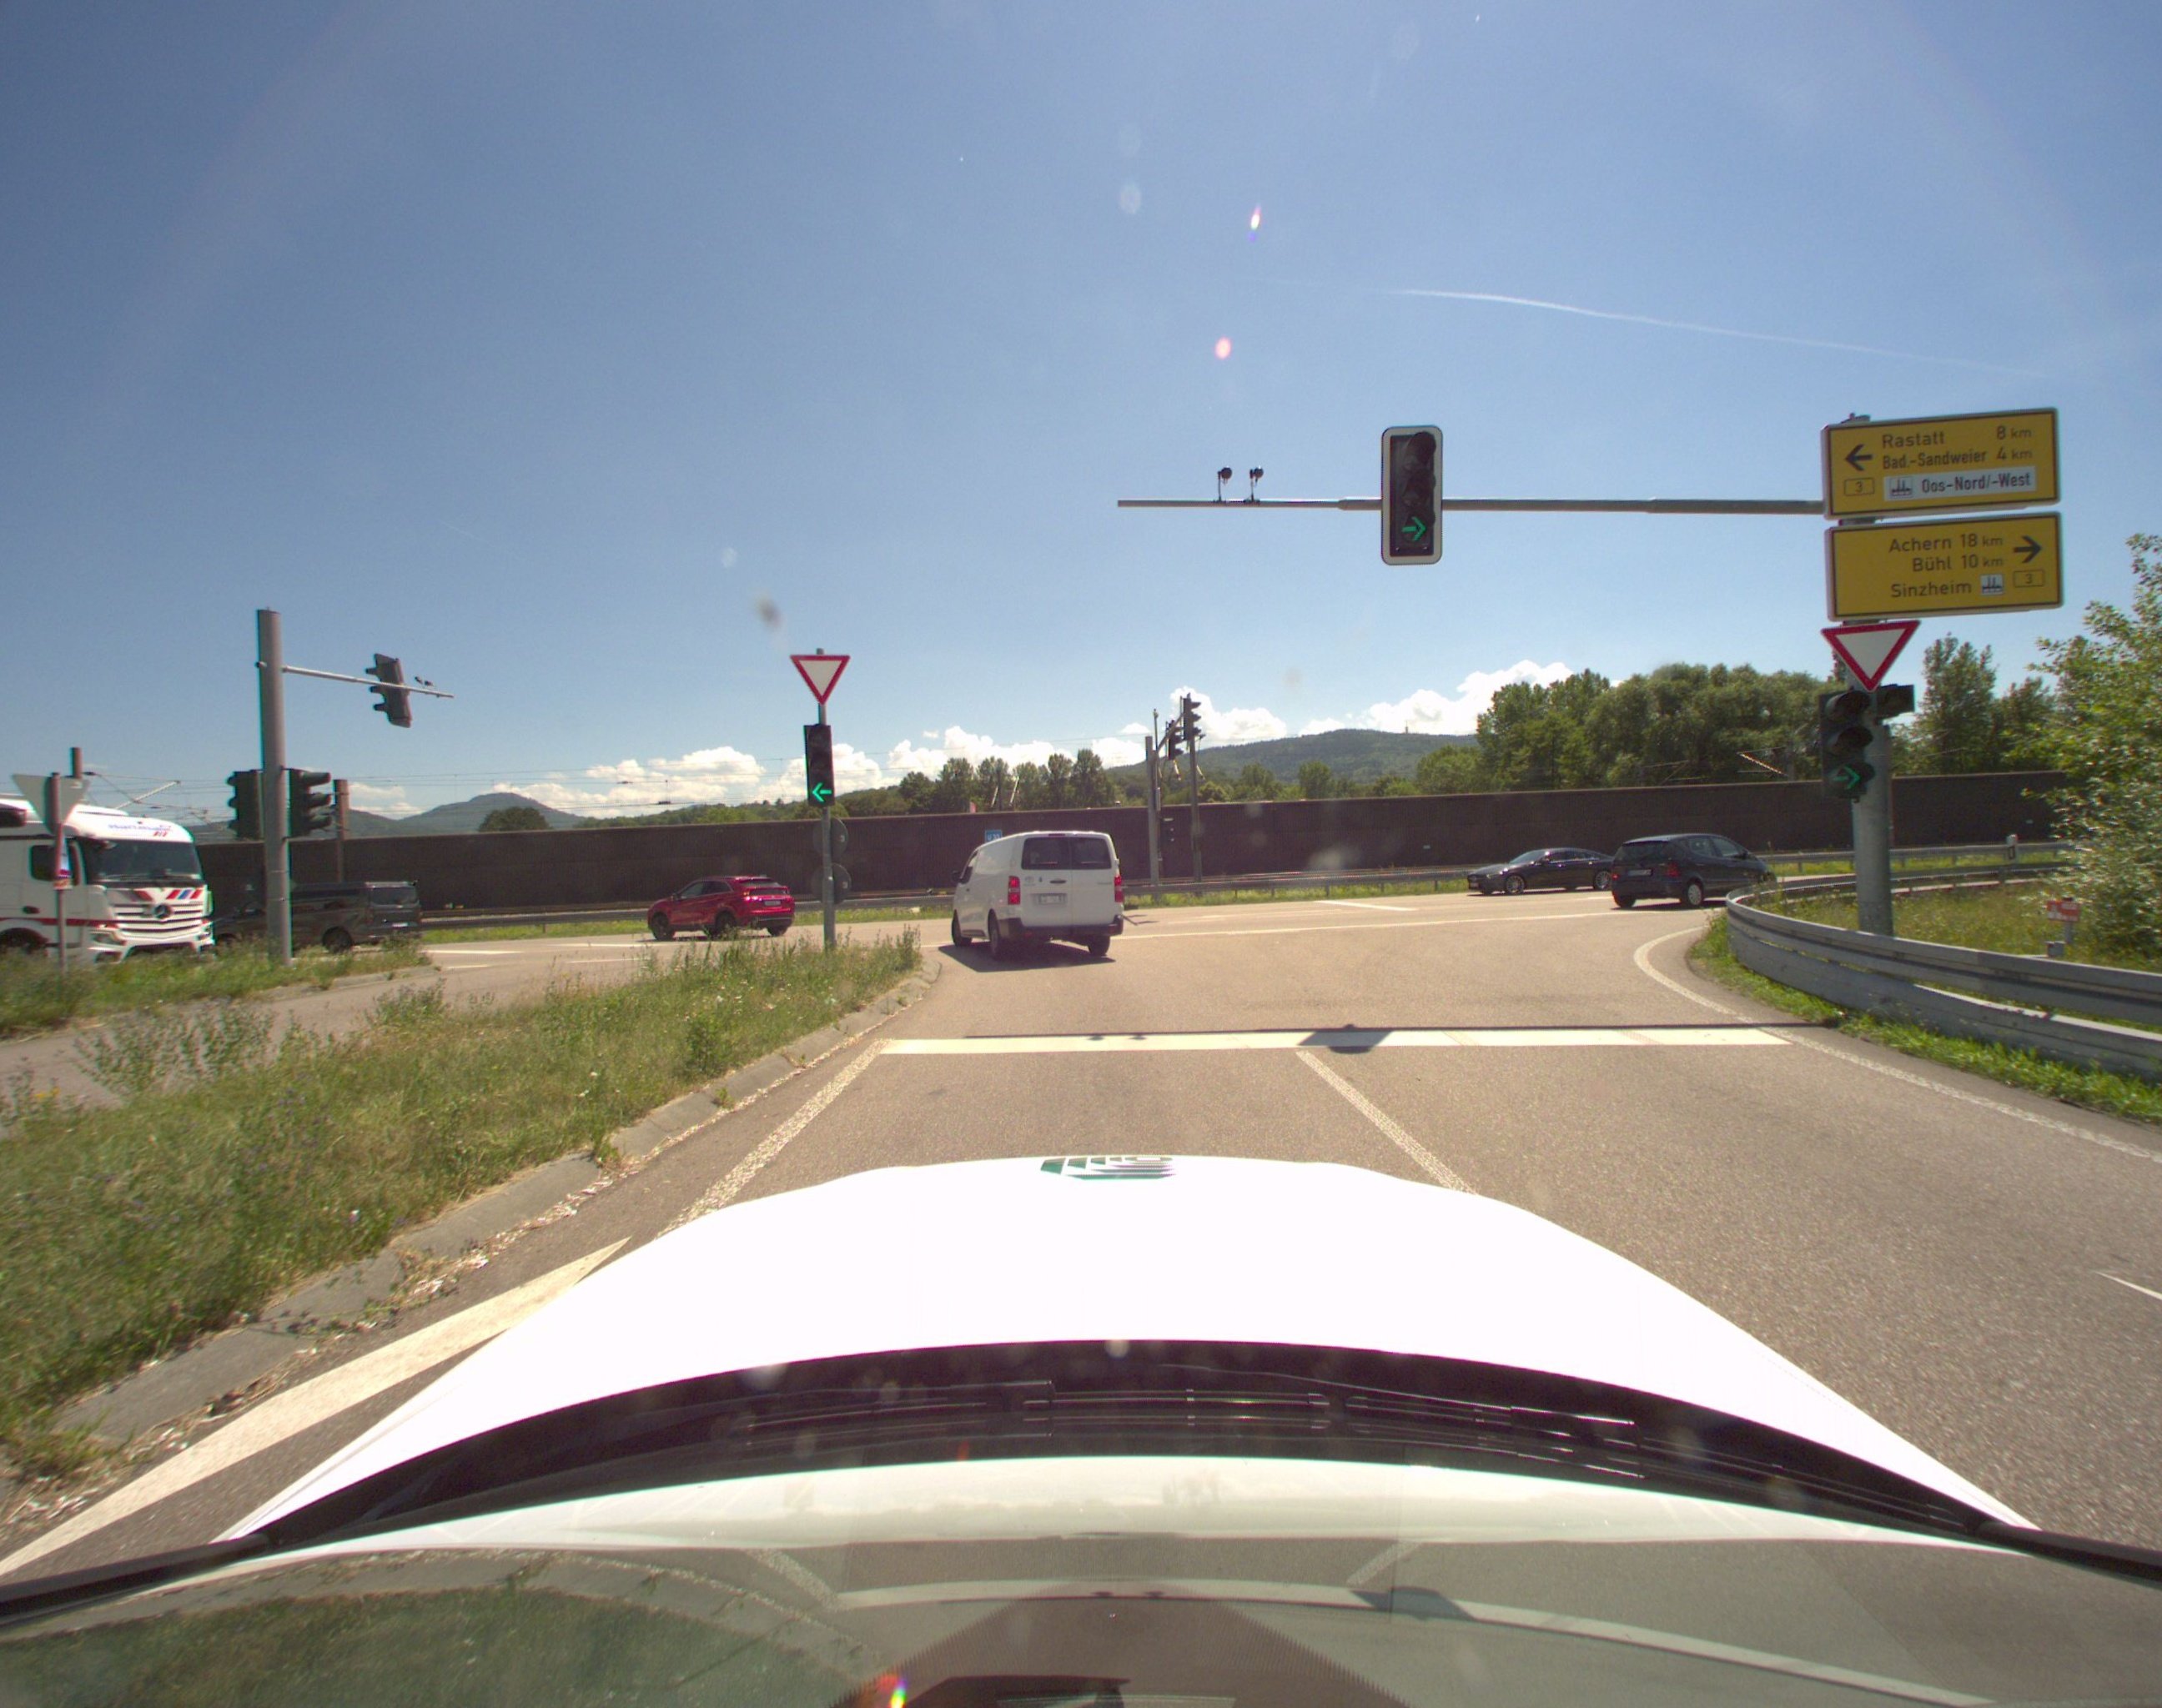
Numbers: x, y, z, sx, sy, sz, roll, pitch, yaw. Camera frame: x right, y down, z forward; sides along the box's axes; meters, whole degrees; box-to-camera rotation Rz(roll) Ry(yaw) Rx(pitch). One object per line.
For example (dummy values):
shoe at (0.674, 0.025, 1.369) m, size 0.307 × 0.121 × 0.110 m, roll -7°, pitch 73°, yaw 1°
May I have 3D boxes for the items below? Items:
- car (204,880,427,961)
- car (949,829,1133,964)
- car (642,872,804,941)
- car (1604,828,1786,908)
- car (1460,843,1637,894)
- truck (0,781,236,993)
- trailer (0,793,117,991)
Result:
car at (-22.162, 1.883, 23.692) m, size 4.744 × 2.022 × 2.017 m, roll -3°, pitch -2°, yaw 5°
car at (-0.919, 0.677, 14.090) m, size 1.951 × 1.882 × 4.850 m, roll -1°, pitch -2°, yaw -18°
car at (-9.715, 1.433, 22.066) m, size 4.088 × 1.649 × 1.924 m, roll -4°, pitch -2°, yaw 30°
car at (13.842, 0.293, 18.378) m, size 3.564 × 1.597 × 1.631 m, roll -2°, pitch -1°, yaw -22°
car at (15.000, 0.483, 26.318) m, size 4.620 × 1.364 × 1.911 m, roll -3°, pitch -2°, yaw -2°
truck at (-22.270, 0.787, 17.221) m, size 5.790 × 4.045 × 2.696 m, roll -3°, pitch -2°, yaw -2°
trailer at (-29.008, 1.175, 17.000) m, size 14.040 × 4.045 × 2.696 m, roll -3°, pitch -2°, yaw -2°
